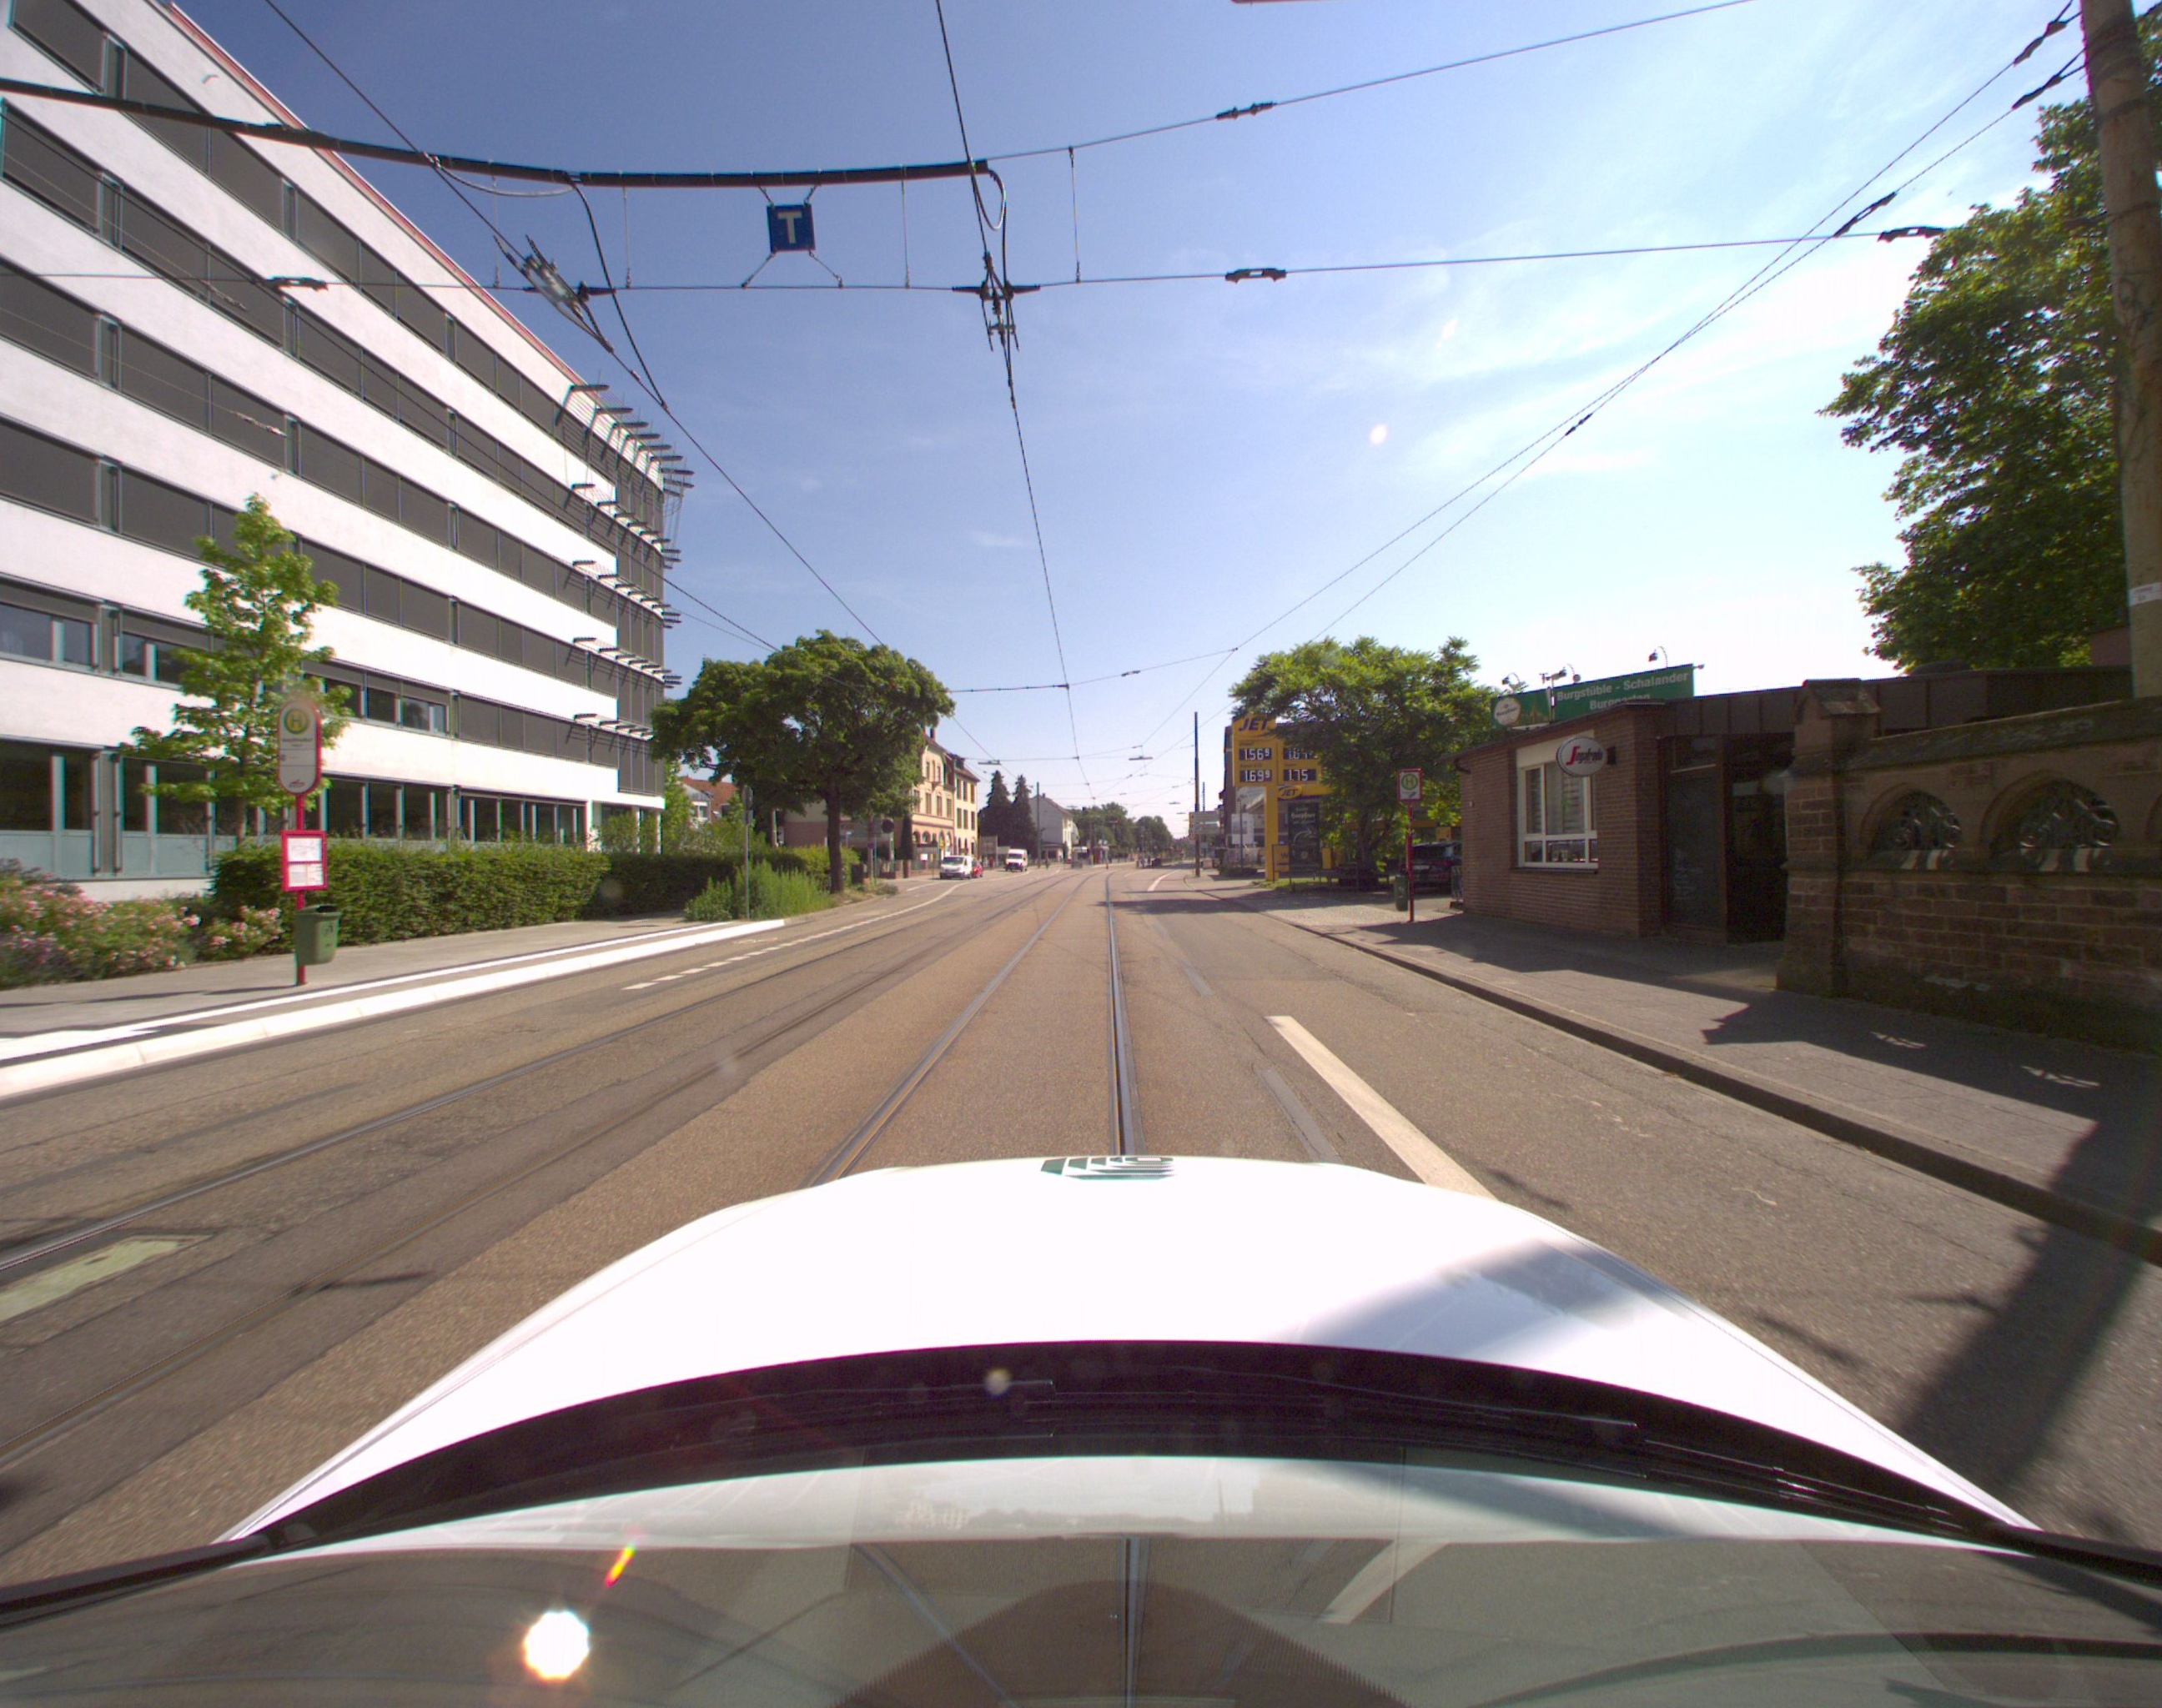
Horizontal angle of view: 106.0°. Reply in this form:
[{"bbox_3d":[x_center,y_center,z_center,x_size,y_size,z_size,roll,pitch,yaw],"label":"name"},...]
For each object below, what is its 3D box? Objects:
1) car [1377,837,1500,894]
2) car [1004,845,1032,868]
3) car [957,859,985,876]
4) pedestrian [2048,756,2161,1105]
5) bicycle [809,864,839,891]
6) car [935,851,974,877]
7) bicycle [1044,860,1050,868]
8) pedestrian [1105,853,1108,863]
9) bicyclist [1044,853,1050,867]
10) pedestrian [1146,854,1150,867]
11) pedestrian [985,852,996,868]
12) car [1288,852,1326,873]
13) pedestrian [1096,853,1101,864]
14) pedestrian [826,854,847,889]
[{"bbox_3d":[11.575,0.333,26.218,4.687,1.640,1.995,-2,0,-44],"label":"car"},{"bbox_3d":[-7.318,0.255,95.367,2.319,2.535,6.513,-1,0,4],"label":"car"},{"bbox_3d":[-9.619,1.180,71.502,1.713,1.406,4.004,-1,0,3],"label":"car"},{"bbox_3d":[6.055,0.367,4.040,0.972,1.815,1.185,-5,0,2],"label":"pedestrian"},{"bbox_3d":[-11.516,1.034,36.556,0.633,1.117,2.067,-2,0,1],"label":"bicycle"},{"bbox_3d":[-10.048,0.799,65.166,2.075,2.013,4.913,0,0,4],"label":"car"},{"bbox_3d":[-4.343,1.223,103.470,0.606,0.984,2.165,-1,0,2],"label":"bicycle"},{"bbox_3d":[4.436,0.704,139.200,0.414,1.690,0.706,-1,0,-4],"label":"pedestrian"},{"bbox_3d":[-4.344,0.746,103.440,0.713,1.724,0.988,-1,0,2],"label":"bicyclist"},{"bbox_3d":[9.024,0.863,109.611,0.553,1.760,0.794,-2,0,3],"label":"pedestrian"},{"bbox_3d":[-10.433,0.730,94.048,0.936,1.815,1.134,-1,0,12],"label":"pedestrian"},{"bbox_3d":[16.410,0.592,58.994,1.739,1.455,4.436,-1,0,27],"label":"car"},{"bbox_3d":[2.738,0.710,128.411,0.703,1.690,0.416,-1,0,1],"label":"pedestrian"},{"bbox_3d":[-10.965,0.784,36.552,0.684,1.563,0.987,0,0,-3],"label":"pedestrian"}]
